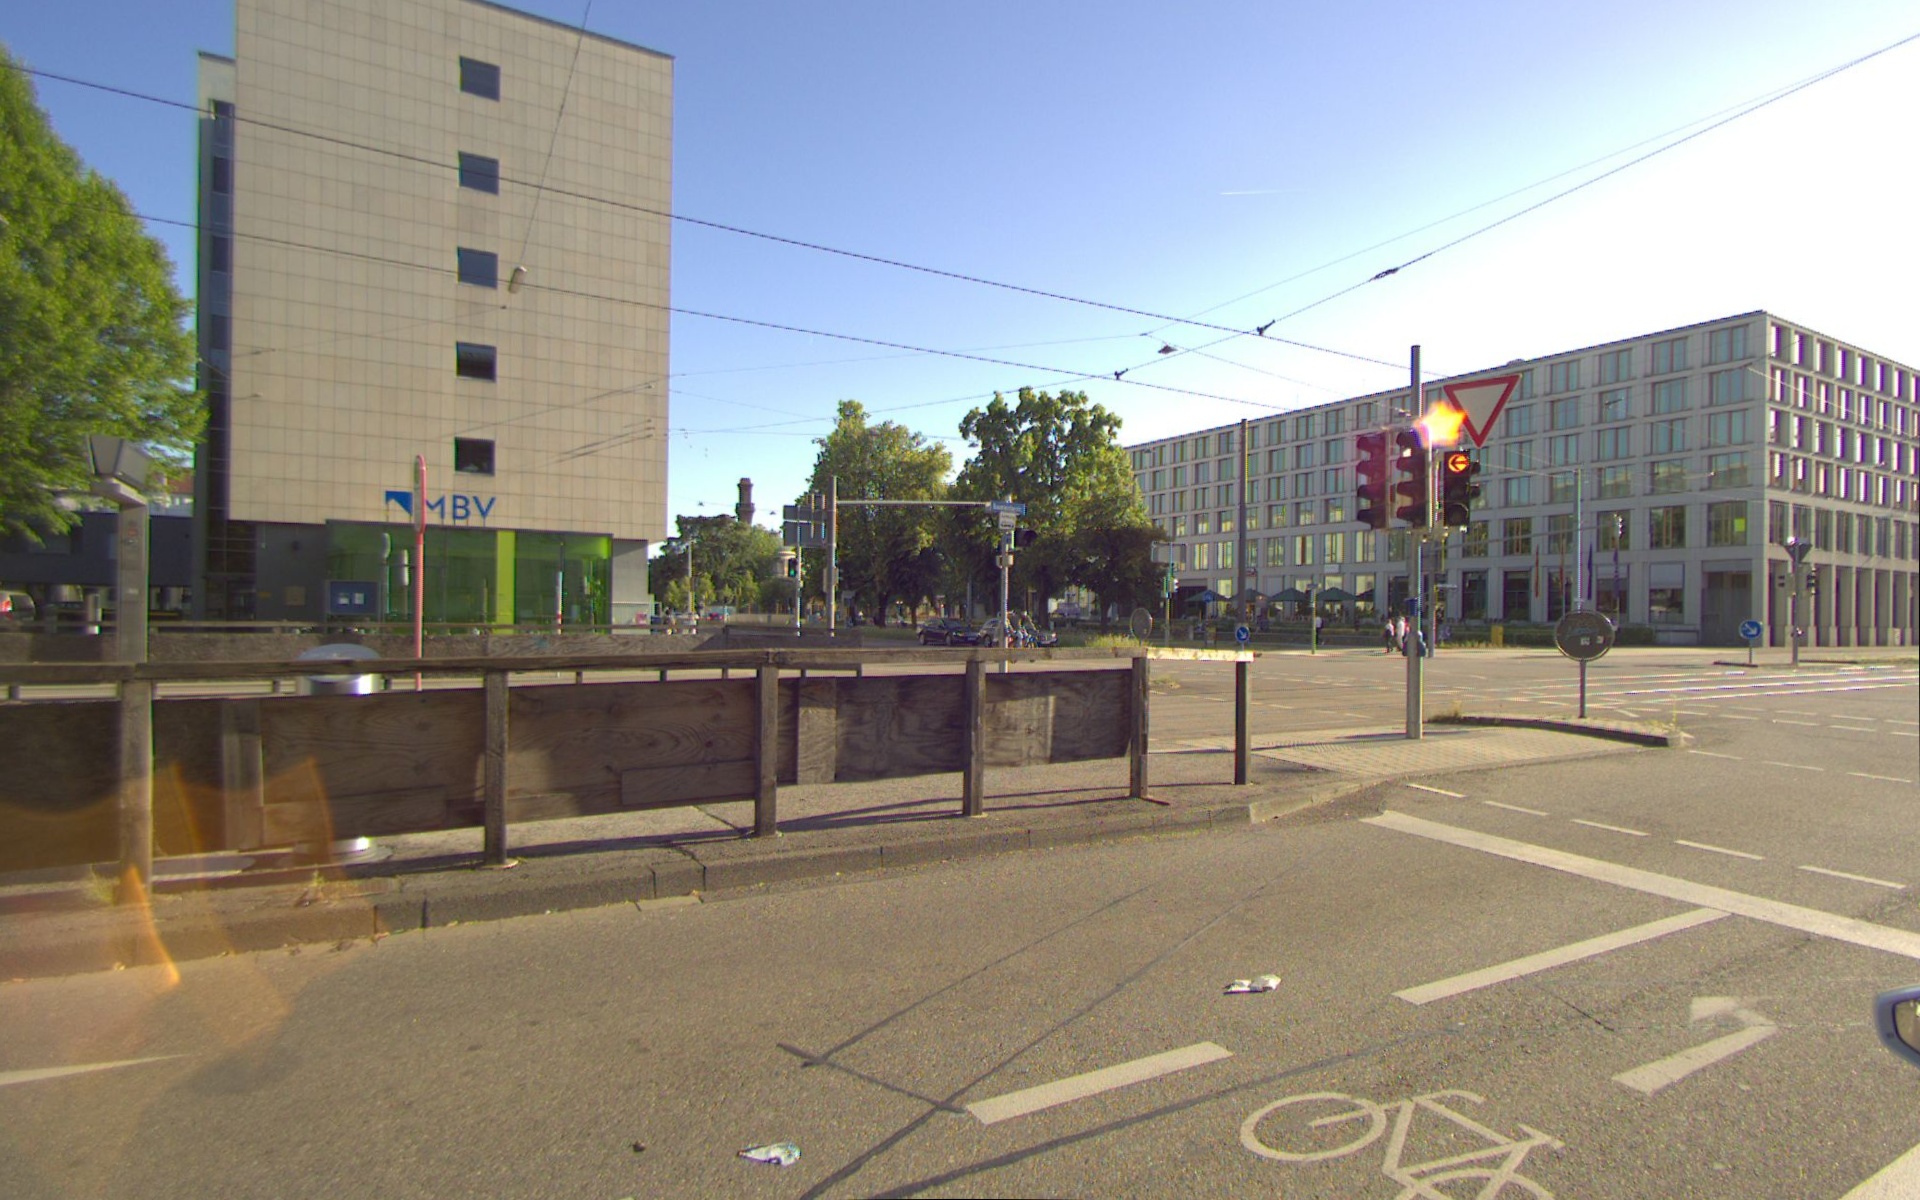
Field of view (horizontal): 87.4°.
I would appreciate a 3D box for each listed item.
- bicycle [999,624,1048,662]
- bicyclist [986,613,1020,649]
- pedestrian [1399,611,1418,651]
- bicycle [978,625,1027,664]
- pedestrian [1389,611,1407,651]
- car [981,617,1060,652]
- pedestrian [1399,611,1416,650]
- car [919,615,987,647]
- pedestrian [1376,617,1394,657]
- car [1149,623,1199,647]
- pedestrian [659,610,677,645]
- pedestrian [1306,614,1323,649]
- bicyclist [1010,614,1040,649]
[{"bbox_3d":[2.254,1.516,35.785,0.783,1.308,1.975,1,-1,-31],"label":"bicycle"},{"bbox_3d":[1.501,1.079,35.044,0.788,1.235,0.920,1,-1,-33],"label":"bicyclist"},{"bbox_3d":[22.984,1.601,51.473,0.793,2.040,0.526,1,-1,-36],"label":"pedestrian"},{"bbox_3d":[1.472,1.538,35.055,0.783,1.308,1.840,1,-1,-33],"label":"bicycle"},{"bbox_3d":[22.818,1.603,52.342,0.793,2.040,0.526,1,-1,-36],"label":"pedestrian"},{"bbox_3d":[2.793,1.595,47.389,1.708,1.595,4.140,1,-1,-31],"label":"car"},{"bbox_3d":[23.757,1.601,53.316,0.793,2.040,0.526,1,-1,-36],"label":"pedestrian"},{"bbox_3d":[-0.411,1.583,52.885,1.801,1.595,3.967,0,0,-31],"label":"car"},{"bbox_3d":[21.741,1.899,51.364,0.793,2.040,0.526,1,-1,-36],"label":"pedestrian"},{"bbox_3d":[13.464,2.169,63.406,1.451,1.457,3.175,1,-1,-25],"label":"car"},{"bbox_3d":[-13.131,1.230,45.168,0.593,1.561,0.620,1,-1,-32],"label":"pedestrian"},{"bbox_3d":[19.567,1.746,55.499,0.672,1.928,0.560,1,-1,-21],"label":"pedestrian"},{"bbox_3d":[2.298,1.125,35.723,0.788,1.235,0.717,1,-1,-31],"label":"bicyclist"}]
